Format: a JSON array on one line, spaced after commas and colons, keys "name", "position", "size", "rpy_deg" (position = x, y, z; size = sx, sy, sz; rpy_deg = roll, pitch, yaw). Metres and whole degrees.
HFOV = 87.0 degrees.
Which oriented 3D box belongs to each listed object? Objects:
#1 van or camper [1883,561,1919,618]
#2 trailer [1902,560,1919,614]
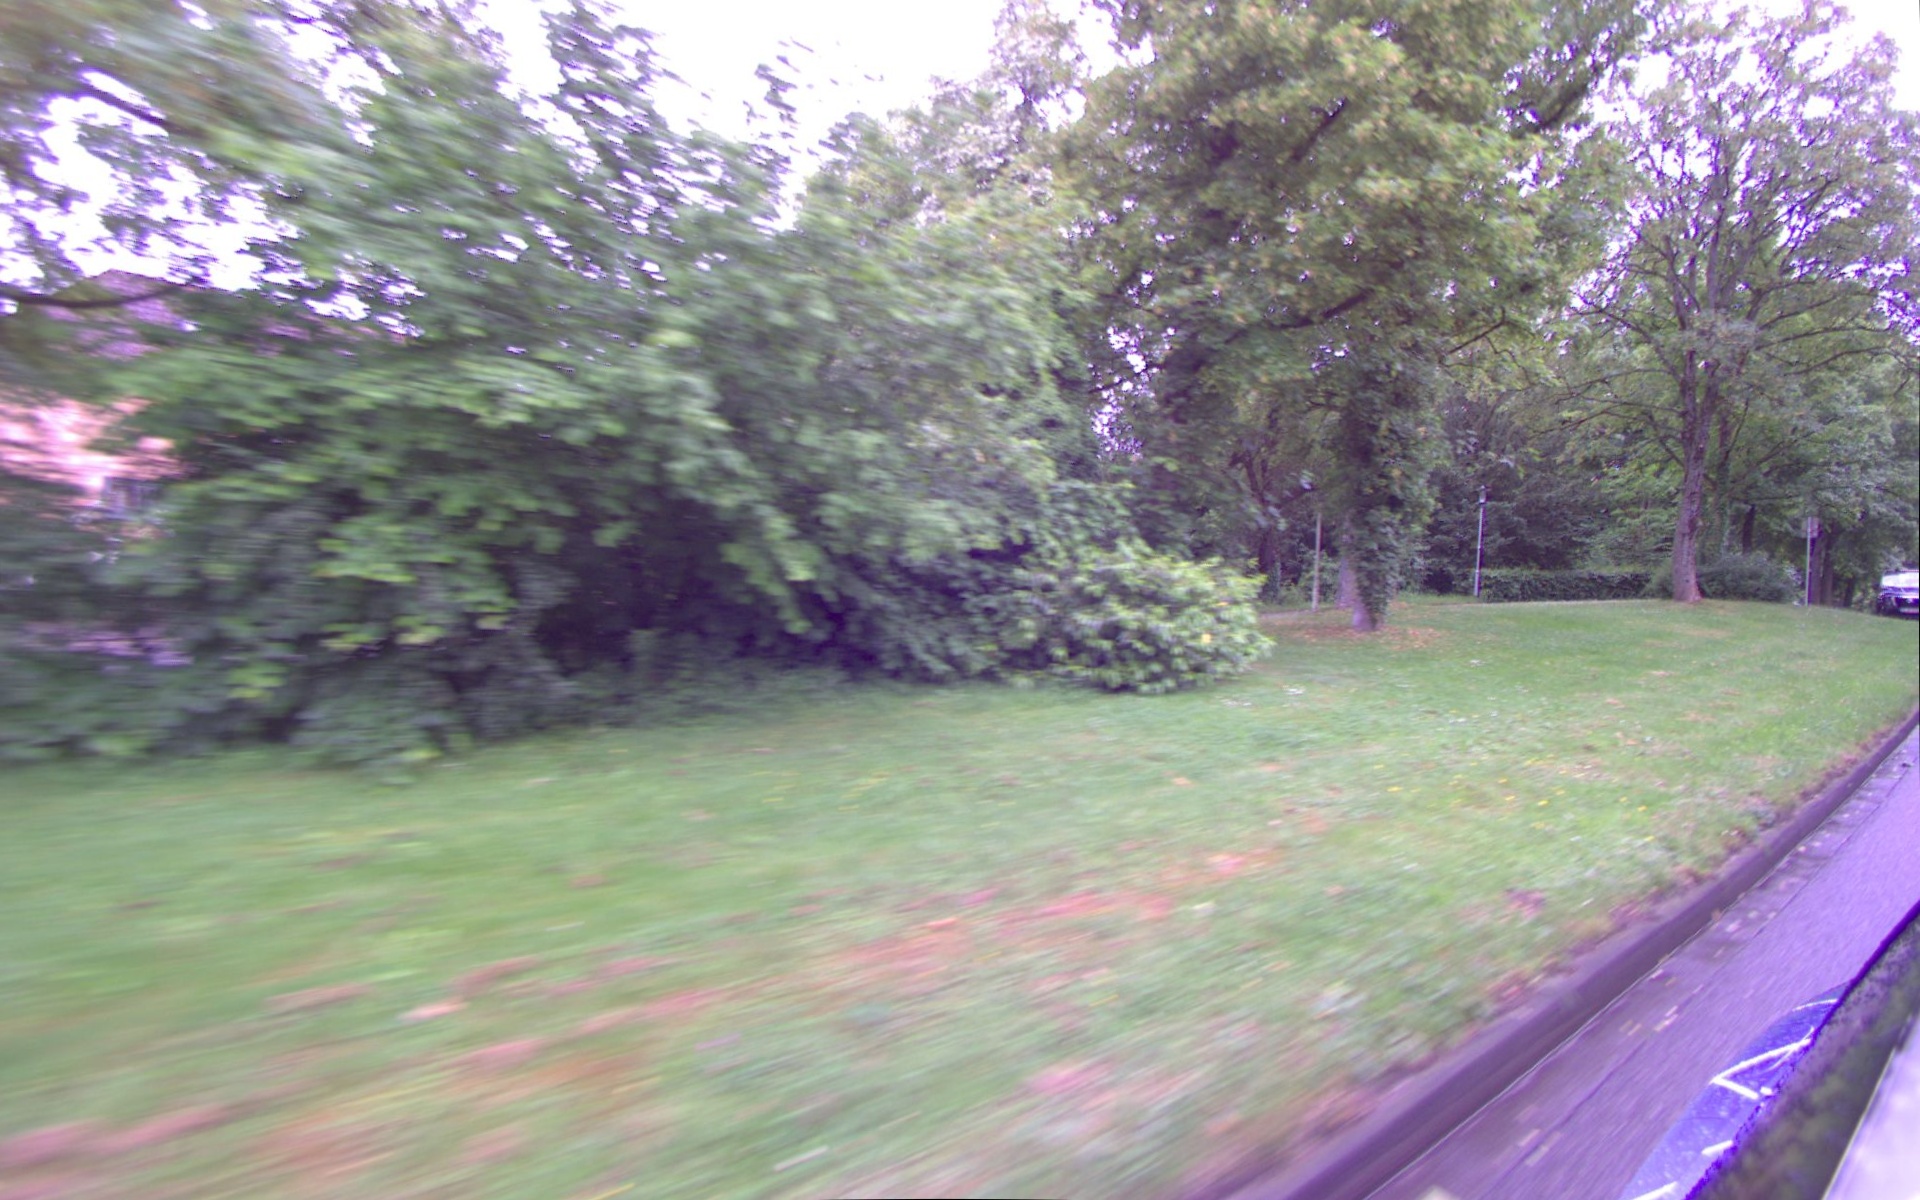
[{"name": "van or camper", "position": [34.806, -0.336, 36.334], "size": [5.570, 1.891, 1.996], "rpy_deg": [0, 3, -44]}, {"name": "trailer", "position": [38.367, -0.479, 39.758], "size": [3.885, 2.079, 1.698], "rpy_deg": [0, 2, -44]}]
